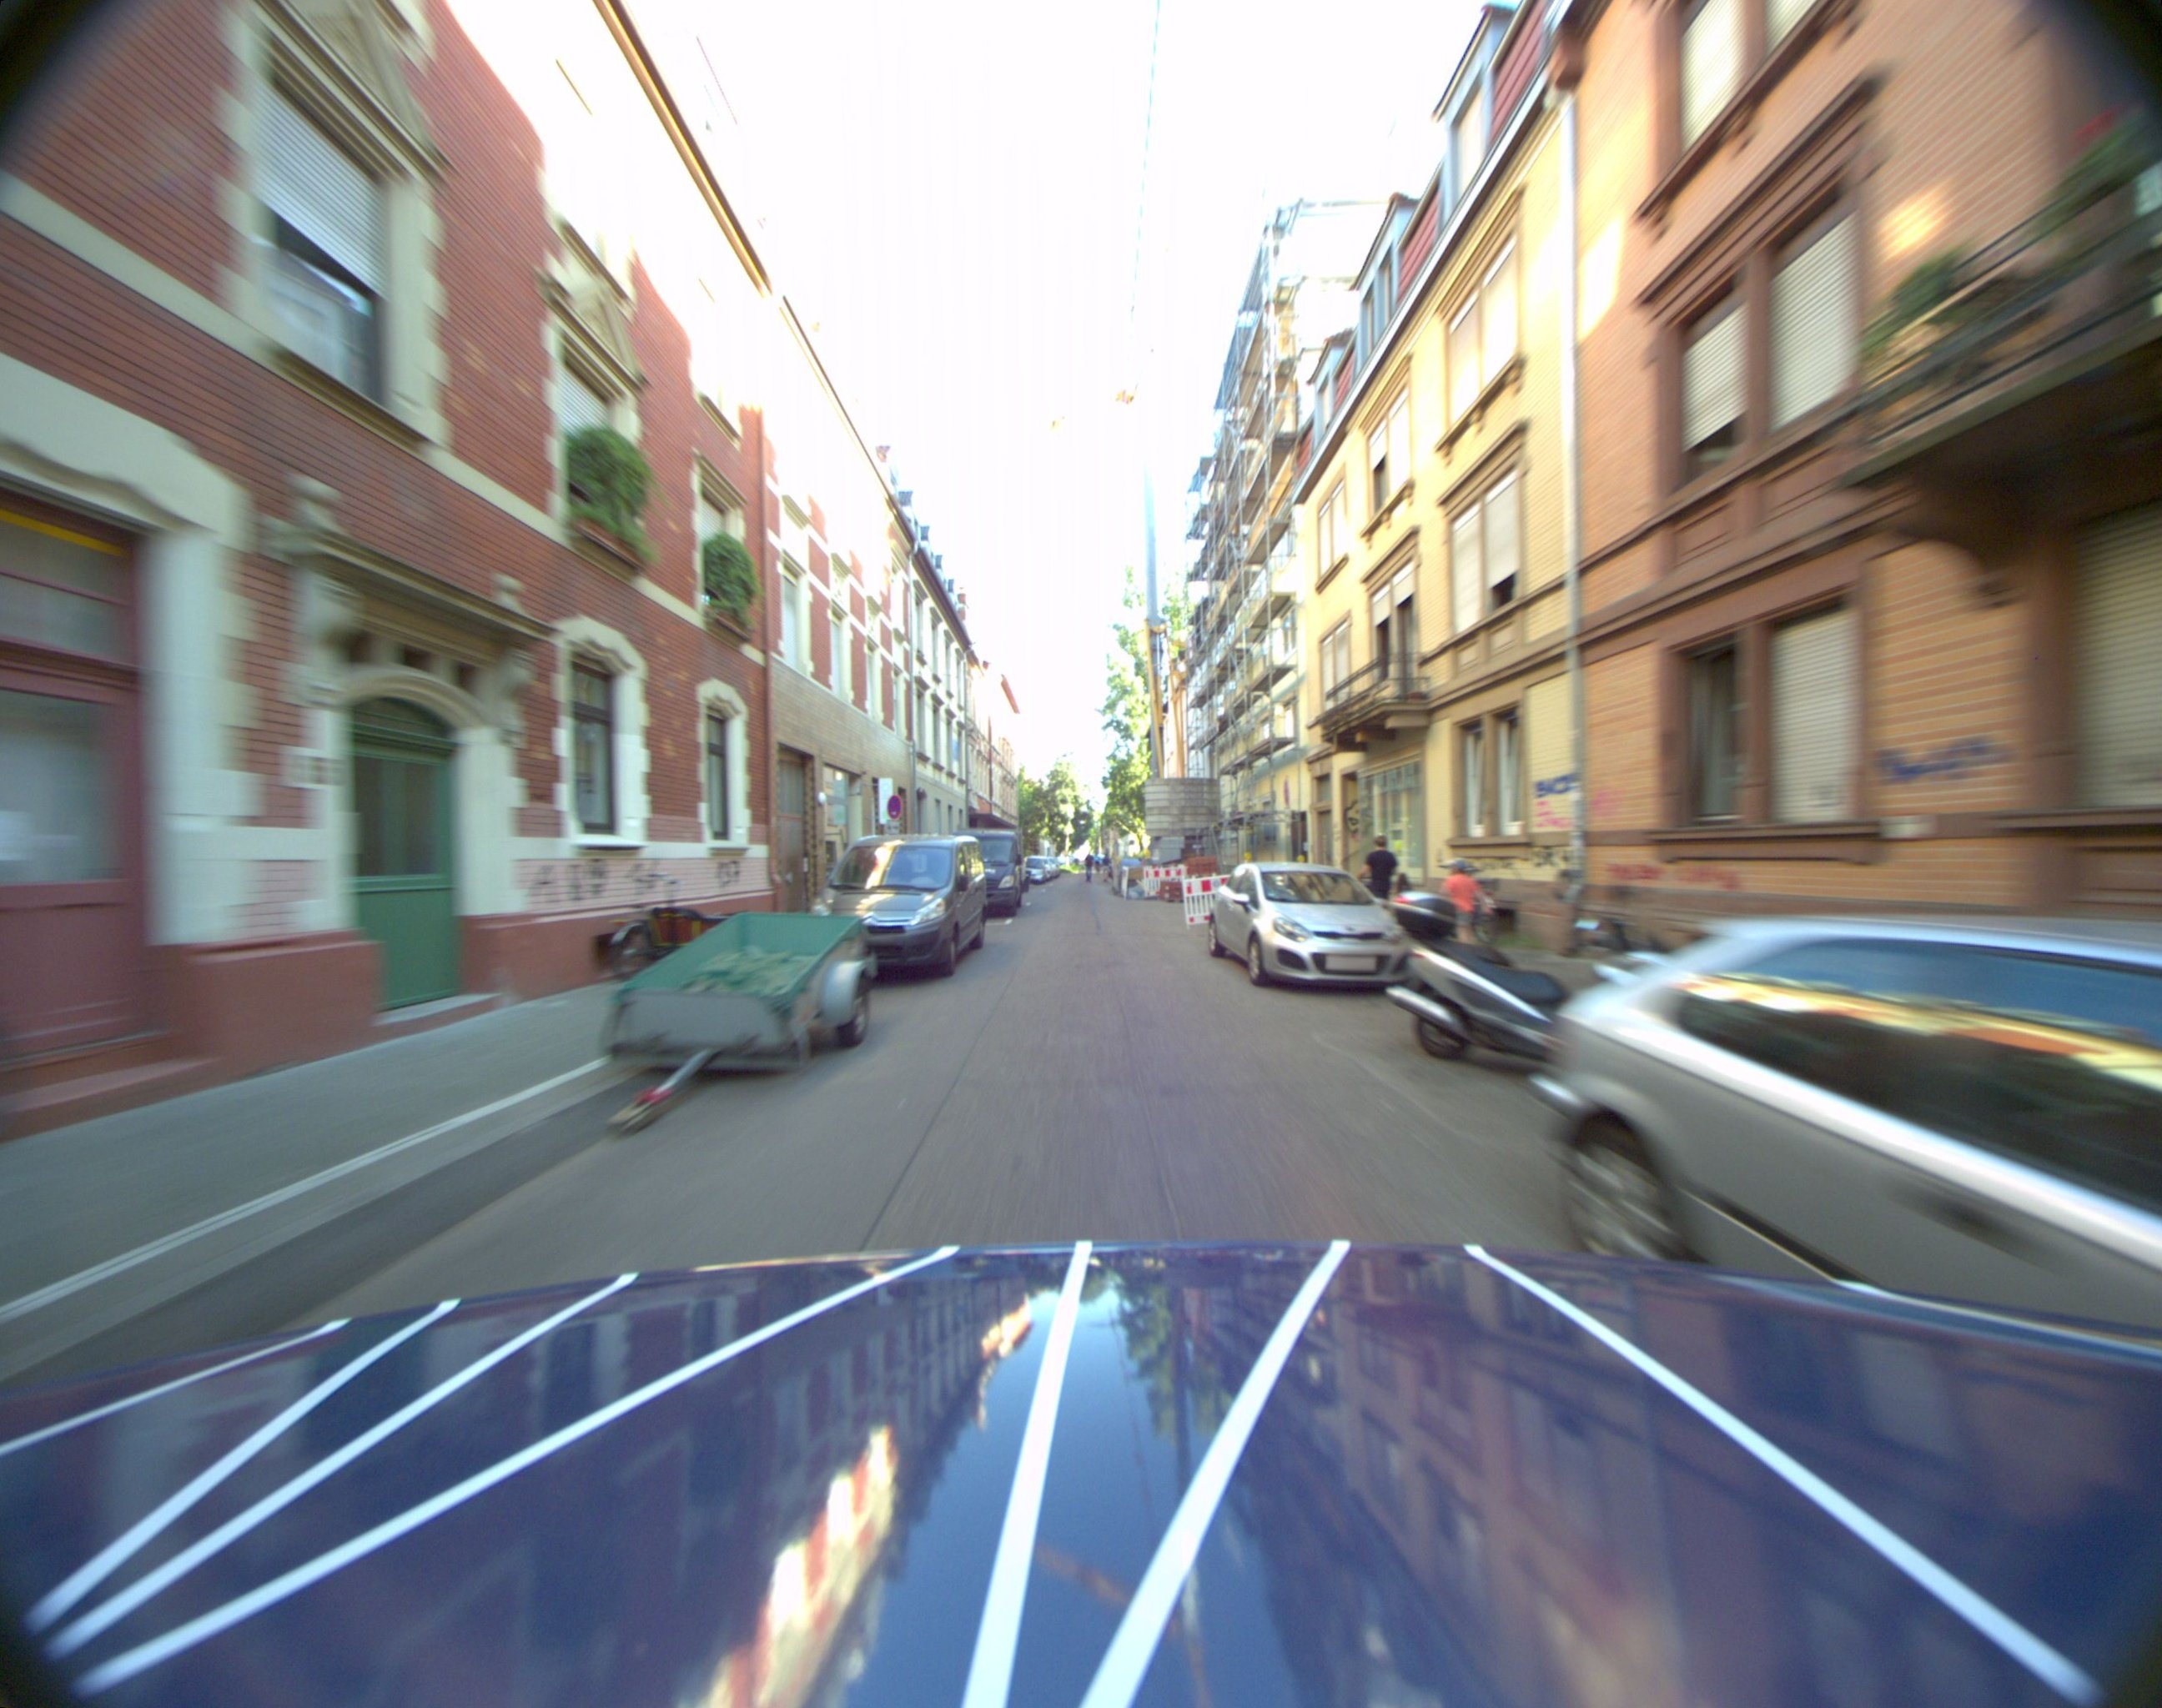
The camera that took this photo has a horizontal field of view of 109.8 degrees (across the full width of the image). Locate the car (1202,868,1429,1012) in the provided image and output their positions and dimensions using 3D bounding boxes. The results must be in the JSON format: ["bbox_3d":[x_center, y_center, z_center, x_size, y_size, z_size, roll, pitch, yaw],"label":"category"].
[{"bbox_3d":[2.752,0.934,9.892,1.678,1.410,3.999,0,0,-1],"label":"car"}]

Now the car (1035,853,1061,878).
[{"bbox_3d":[-2.345,0.820,55.387,1.603,1.626,3.774,-3,0,0],"label":"car"}]

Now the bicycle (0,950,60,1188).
[{"bbox_3d":[-5.542,1.036,2.895,0.703,1.115,1.898,3,0,0],"label":"bicycle"}]

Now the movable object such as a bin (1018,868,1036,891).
[{"bbox_3d":[-2.464,1.161,34.767,0.742,1.051,0.687,0,1,0],"label":"movable object such as a bin"}]

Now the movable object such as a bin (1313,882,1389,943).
[{"bbox_3d":[4.695,0.994,13.298,0.764,0.926,1.415,-1,0,-2],"label":"movable object such as a bin"}]

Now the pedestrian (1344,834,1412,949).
[{"bbox_3d":[4.731,0.577,12.140,0.687,1.755,0.887,-1,1,-3],"label":"pedestrian"}]

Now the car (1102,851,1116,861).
[{"bbox_3d":[4.439,0.251,119.903,2.168,1.508,5.376,0,0,2],"label":"car"}]

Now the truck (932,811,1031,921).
[{"bbox_3d":[-2.671,0.293,22.033,2.154,2.642,6.251,3,0,-2],"label":"truck"}]

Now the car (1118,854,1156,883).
[{"bbox_3d":[3.012,0.753,41.679,1.771,1.500,4.696,0,0,0],"label":"car"}]

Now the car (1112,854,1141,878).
[{"bbox_3d":[2.880,0.741,48.941,1.646,1.483,4.000,-1,0,0],"label":"car"}]

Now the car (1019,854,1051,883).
[{"bbox_3d":[-2.677,0.817,45.063,1.525,1.525,3.463,4,0,0],"label":"car"}]

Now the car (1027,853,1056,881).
[{"bbox_3d":[-2.541,0.787,49.566,1.603,1.652,4.060,-3,0,0],"label":"car"}]

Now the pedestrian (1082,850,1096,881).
[{"bbox_3d":[0.477,0.649,42.851,0.740,1.743,0.997,-1,1,1],"label":"pedestrian"}]

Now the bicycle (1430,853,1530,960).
[{"bbox_3d":[5.857,0.715,11.260,0.525,1.417,1.712,-4,1,1],"label":"bicycle"}]

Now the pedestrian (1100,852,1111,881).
[{"bbox_3d":[1.447,0.730,44.584,0.594,1.634,0.813,1,1,0],"label":"pedestrian"}]

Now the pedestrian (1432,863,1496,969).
[{"bbox_3d":[4.892,0.772,9.739,0.451,1.276,0.647,-3,1,1],"label":"pedestrian"}]

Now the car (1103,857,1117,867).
[{"bbox_3d":[3.946,1.109,104.138,1.760,1.293,4.248,0,0,0],"label":"car"}]

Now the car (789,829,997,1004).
[{"bbox_3d":[-2.475,0.737,11.284,1.849,1.972,4.575,-3,0,0],"label":"car"}]

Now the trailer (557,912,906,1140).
[{"bbox_3d":[-2.595,1.222,6.412,1.509,1.106,3.038,-5,0,-1],"label":"trailer"}]

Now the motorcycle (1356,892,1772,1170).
[{"bbox_3d":[3.120,0.997,5.136,0.846,1.352,2.190,1,1,-42],"label":"motorcycle"}]

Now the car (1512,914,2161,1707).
[{"bbox_3d":[2.578,0.971,0.995,1.703,1.306,3.999,-4,1,0],"label":"car"}]

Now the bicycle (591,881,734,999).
[{"bbox_3d":[-5.193,1.012,9.600,0.670,1.215,1.991,2,1,1],"label":"bicycle"}]

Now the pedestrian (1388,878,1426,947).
[{"bbox_3d":[5.280,0.938,12.318,0.395,1.080,0.431,-2,1,-5],"label":"pedestrian"}]
